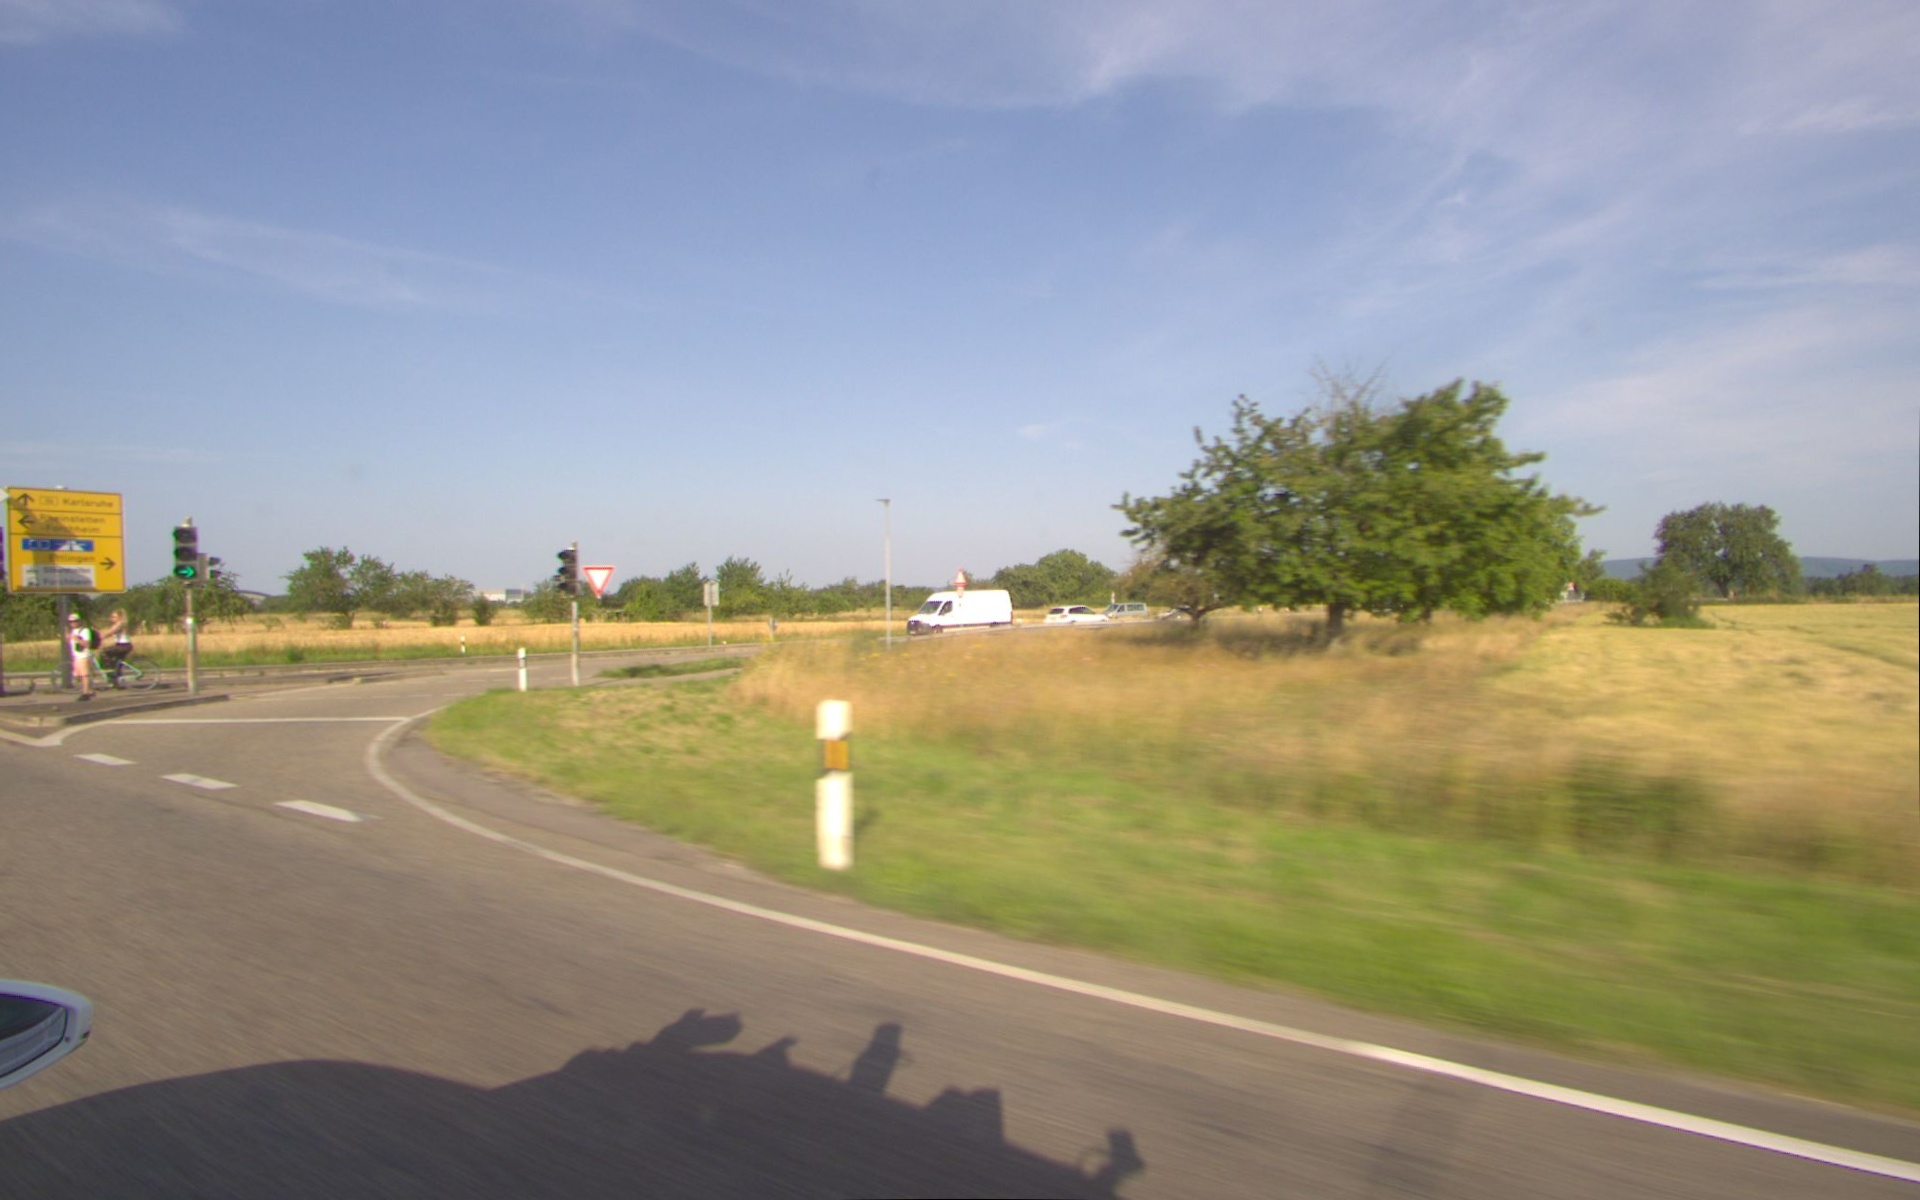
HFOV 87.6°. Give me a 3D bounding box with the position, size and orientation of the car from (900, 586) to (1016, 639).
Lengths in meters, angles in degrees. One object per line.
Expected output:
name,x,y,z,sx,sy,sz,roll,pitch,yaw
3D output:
car,-0.018,0.776,57.490,6.969,2.831,2.298,2,-2,-42

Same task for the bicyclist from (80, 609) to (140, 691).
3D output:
bicyclist,-18.972,1.108,22.359,0.788,1.778,0.845,-1,-2,37

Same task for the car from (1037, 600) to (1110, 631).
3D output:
car,6.402,0.914,56.347,3.952,1.618,1.848,2,-2,-36

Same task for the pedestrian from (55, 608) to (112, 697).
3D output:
pedestrian,-17.869,1.063,20.409,0.852,1.774,0.708,-1,-2,38

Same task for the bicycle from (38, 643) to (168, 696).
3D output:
bicycle,-19.042,1.519,22.292,0.798,1.102,2.088,-1,-2,39
